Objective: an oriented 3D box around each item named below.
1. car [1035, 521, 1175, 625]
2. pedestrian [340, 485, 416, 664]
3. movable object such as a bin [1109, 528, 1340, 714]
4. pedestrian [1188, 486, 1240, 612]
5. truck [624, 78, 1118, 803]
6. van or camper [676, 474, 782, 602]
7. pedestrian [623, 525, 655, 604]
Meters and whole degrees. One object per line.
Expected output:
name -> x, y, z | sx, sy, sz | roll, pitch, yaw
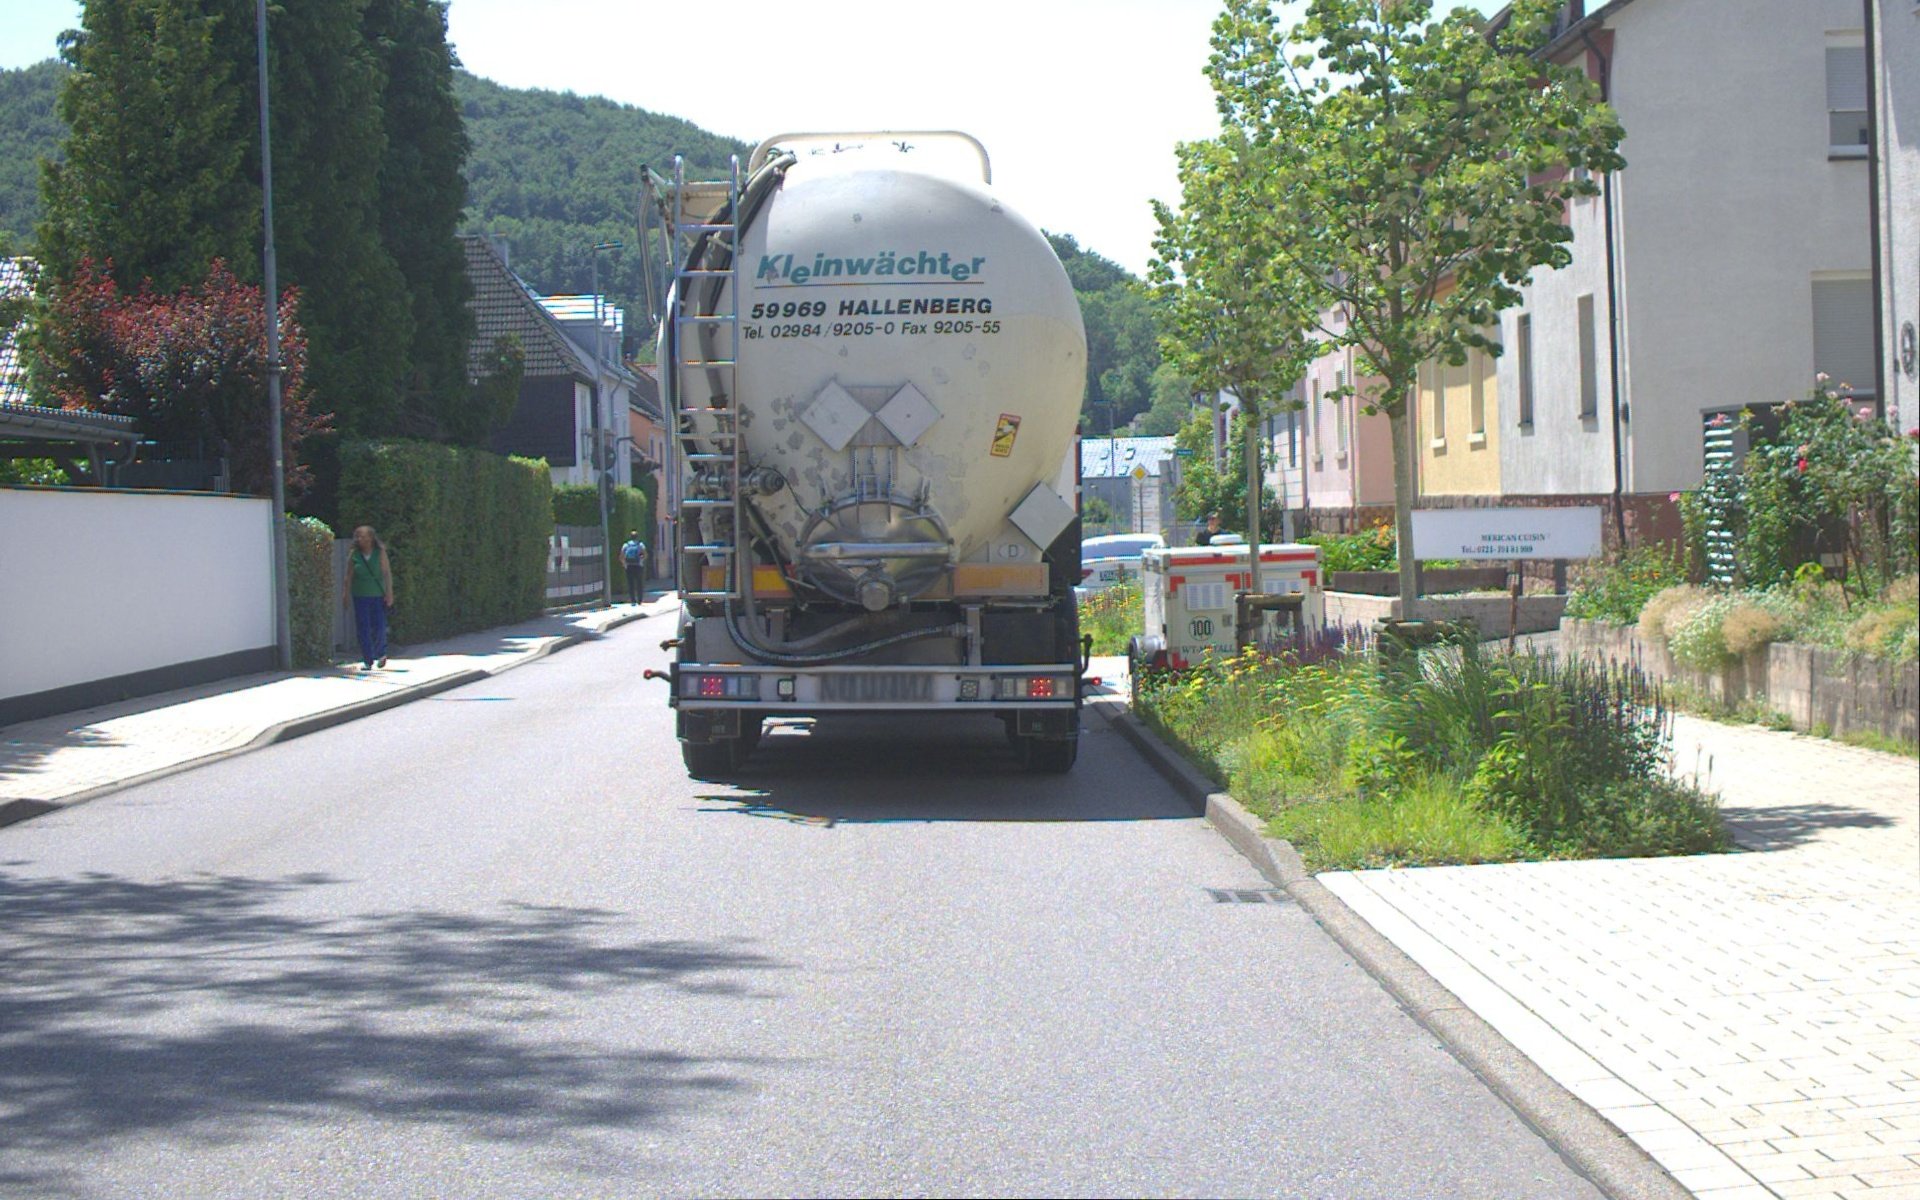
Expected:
car -> 2.146, -0.372, 51.974 | 1.756, 1.413, 4.633 | -3, 0, -1
pedestrian -> -6.608, -0.284, 39.054 | 0.720, 2.007, 0.804 | 1, 0, -2
movable object such as a bin -> 2.143, 0.162, 28.527 | 1.571, 1.412, 3.042 | -2, 0, -1
pedestrian -> 4.075, -0.810, 55.166 | 0.746, 2.007, 1.033 | 1, 0, 0
truck -> -0.627, -0.987, 24.661 | 2.750, 4.043, 10.890 | 0, 1, -1
van or camper -> -5.060, -1.325, 75.971 | 2.037, 2.704, 5.824 | 1, 0, -1
pedestrian -> -7.407, -0.815, 79.374 | 0.712, 1.817, 0.898 | 1, 0, -4
